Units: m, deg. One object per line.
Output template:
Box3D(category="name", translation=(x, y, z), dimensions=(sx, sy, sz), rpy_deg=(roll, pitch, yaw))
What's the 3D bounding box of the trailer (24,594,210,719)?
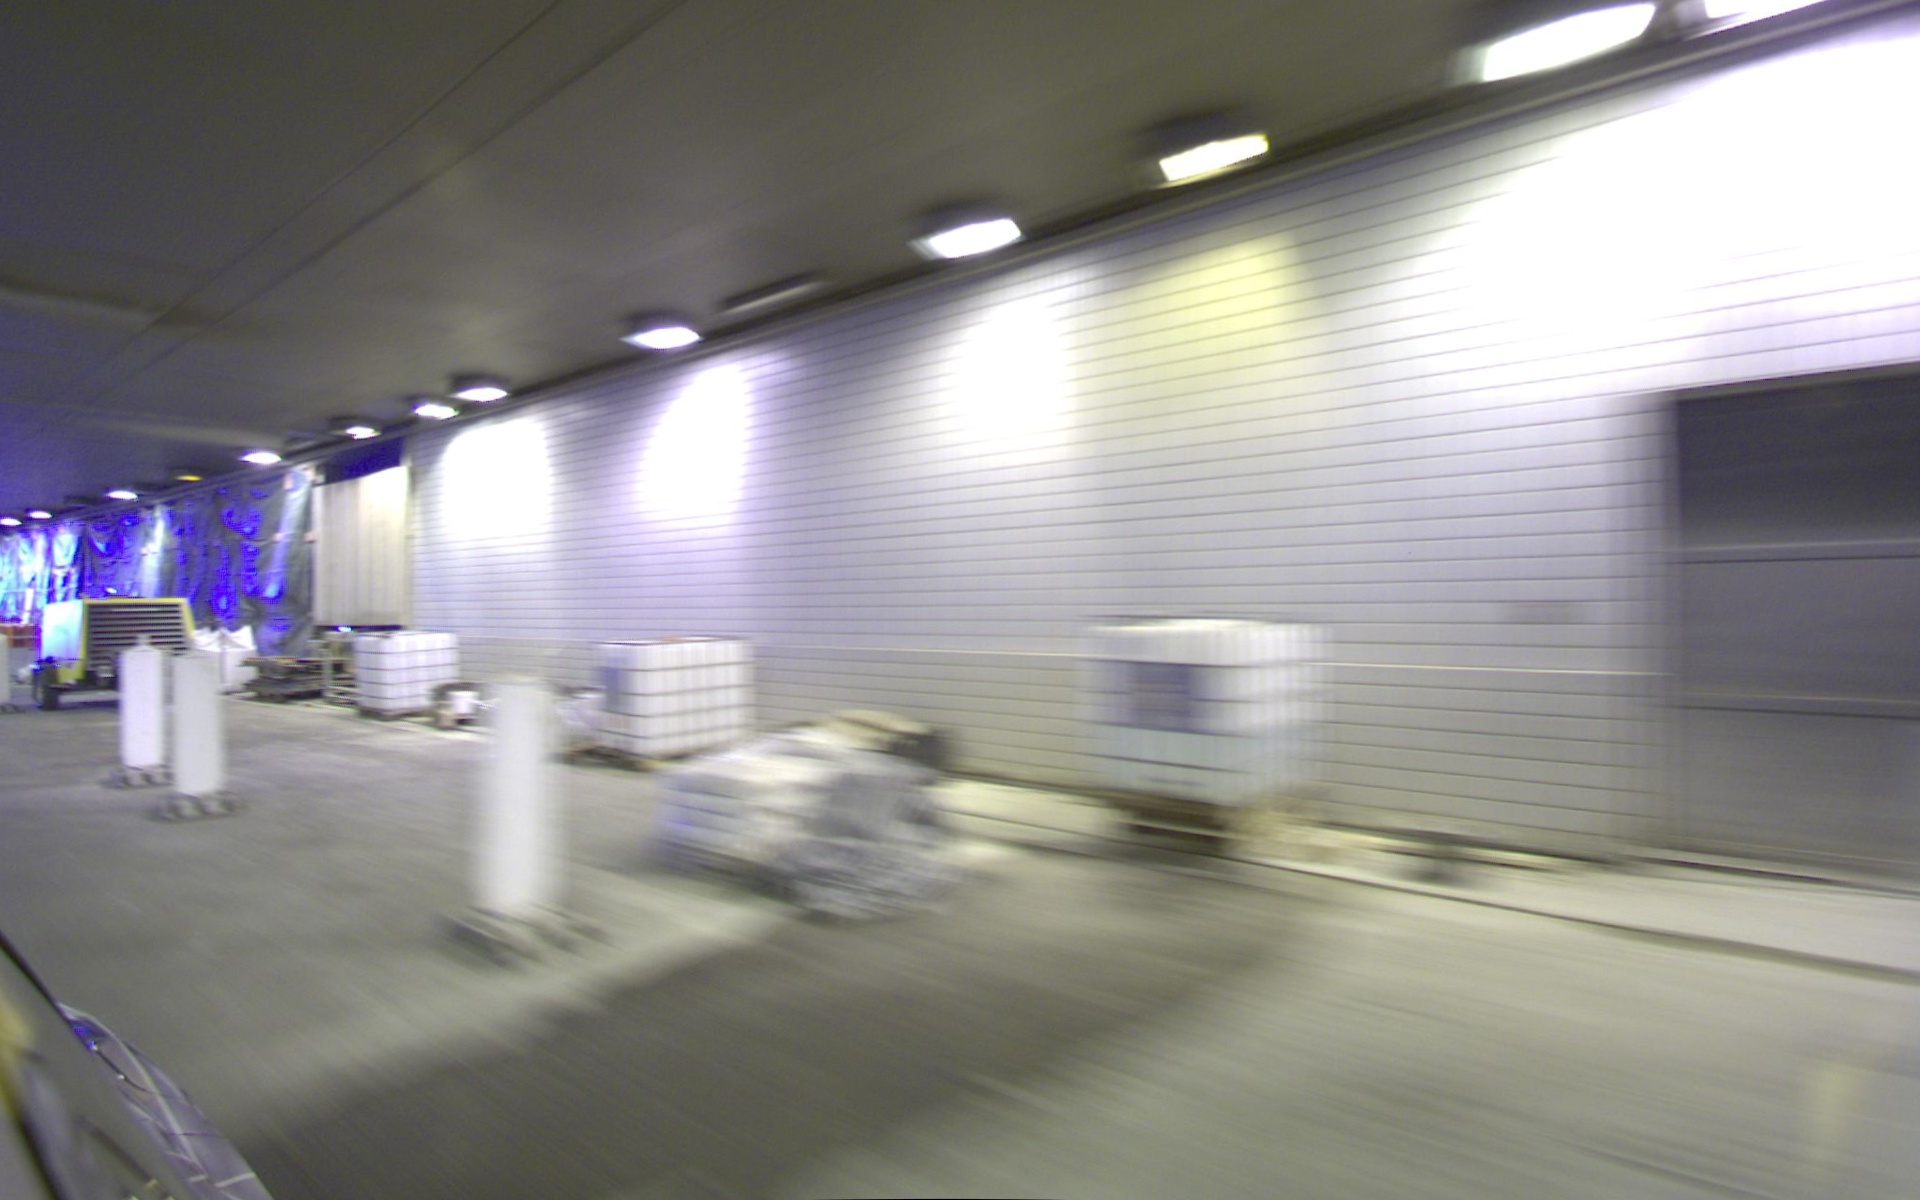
Box3D(category="trailer", translation=(-13.555, 0.832, 16.241), dimensions=(3.116, 1.804, 1.624), rpy_deg=(-1, 0, 36))
